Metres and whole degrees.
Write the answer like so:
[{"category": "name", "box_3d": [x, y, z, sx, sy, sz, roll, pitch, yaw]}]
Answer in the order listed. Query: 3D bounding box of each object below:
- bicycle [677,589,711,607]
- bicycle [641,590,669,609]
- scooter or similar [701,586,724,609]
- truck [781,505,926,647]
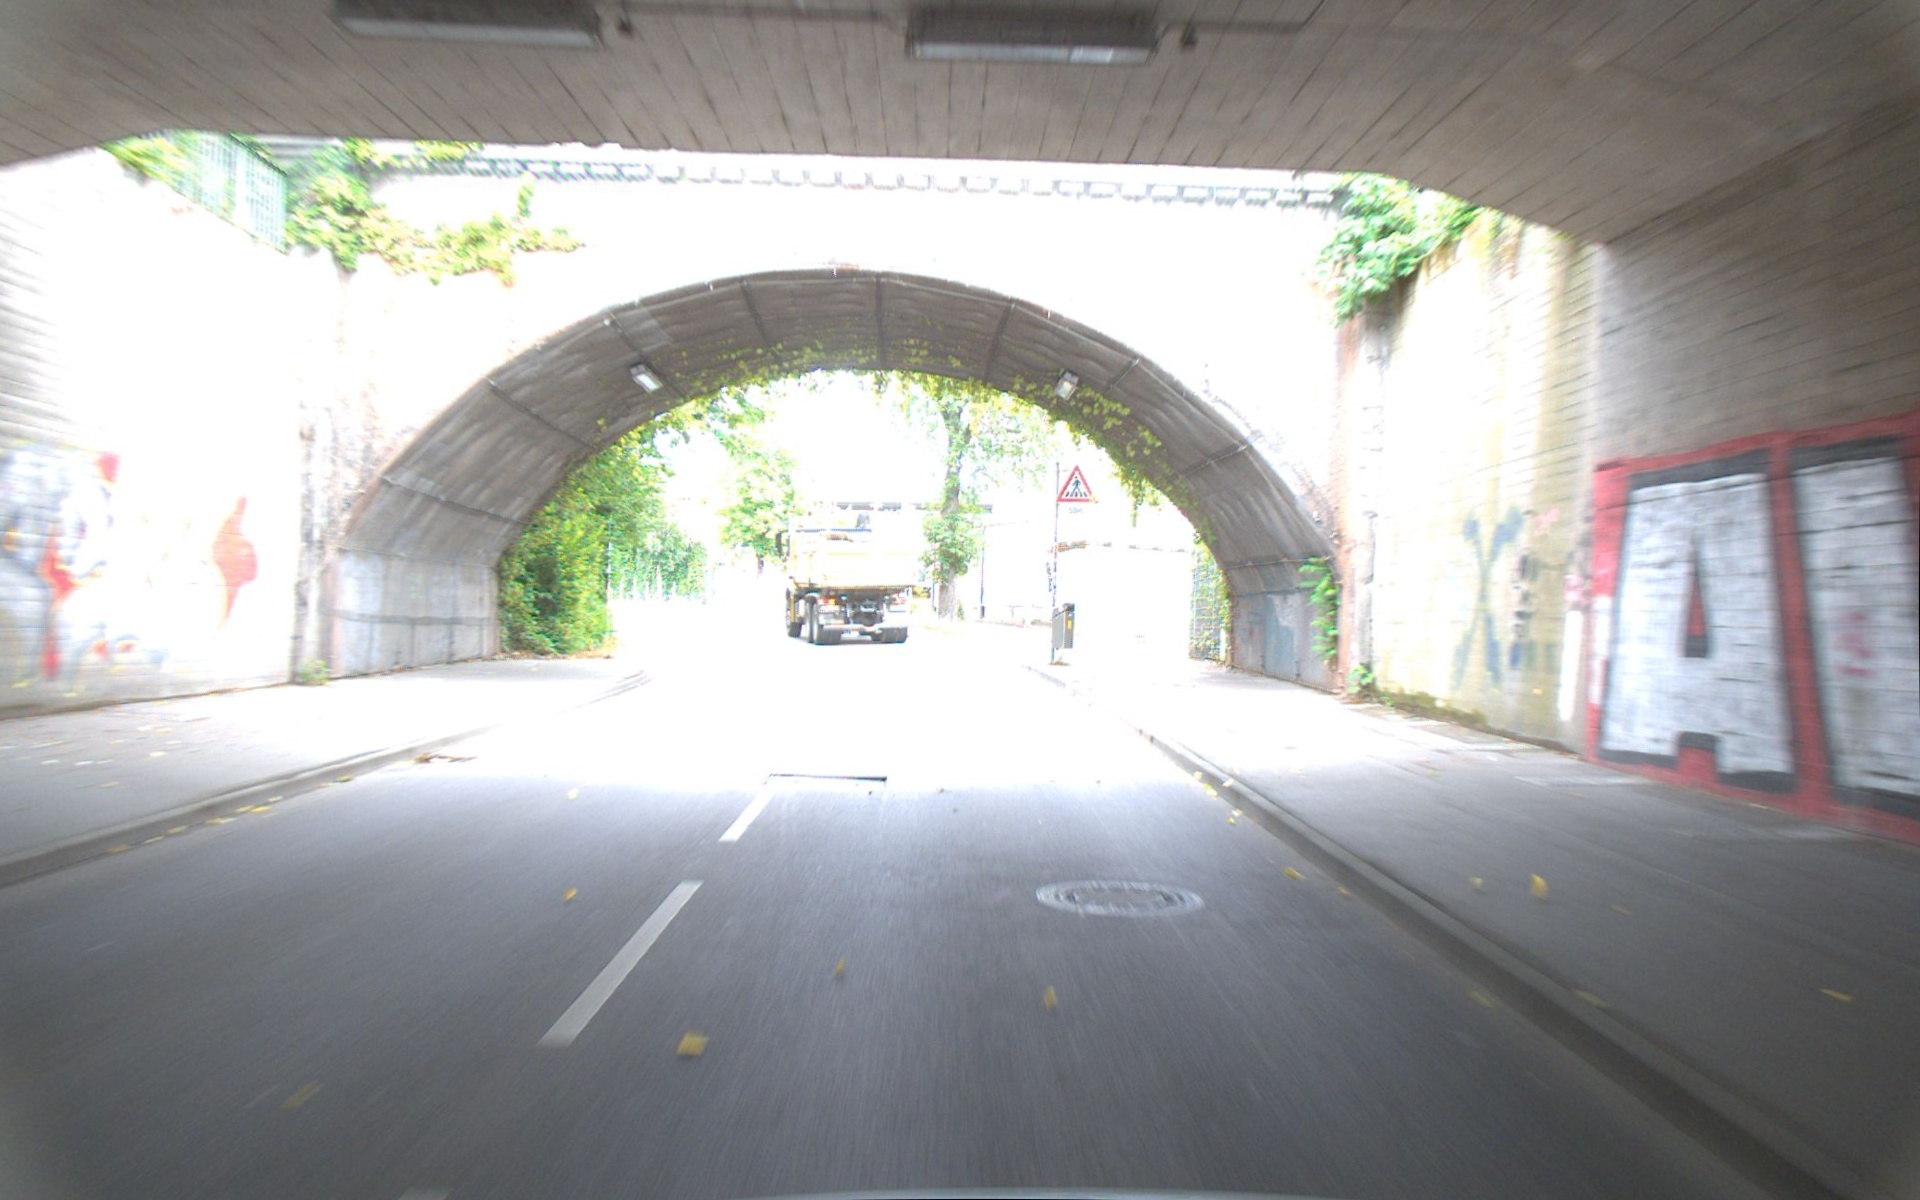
[{"category": "bicycle", "box_3d": [-15.740, -0.109, 97.895, 1.954, 0.880, 0.503, 7, -3, -41]}, {"category": "bicycle", "box_3d": [-18.067, -0.009, 98.037, 1.467, 1.007, 0.689, 5, -1, -23]}, {"category": "scooter or similar", "box_3d": [-14.533, -0.158, 97.171, 1.178, 1.227, 0.462, 6, -3, -37]}, {"category": "truck", "box_3d": [-3.108, -0.739, 45.772, 2.717, 3.544, 8.104, 1, 2, -13]}]
